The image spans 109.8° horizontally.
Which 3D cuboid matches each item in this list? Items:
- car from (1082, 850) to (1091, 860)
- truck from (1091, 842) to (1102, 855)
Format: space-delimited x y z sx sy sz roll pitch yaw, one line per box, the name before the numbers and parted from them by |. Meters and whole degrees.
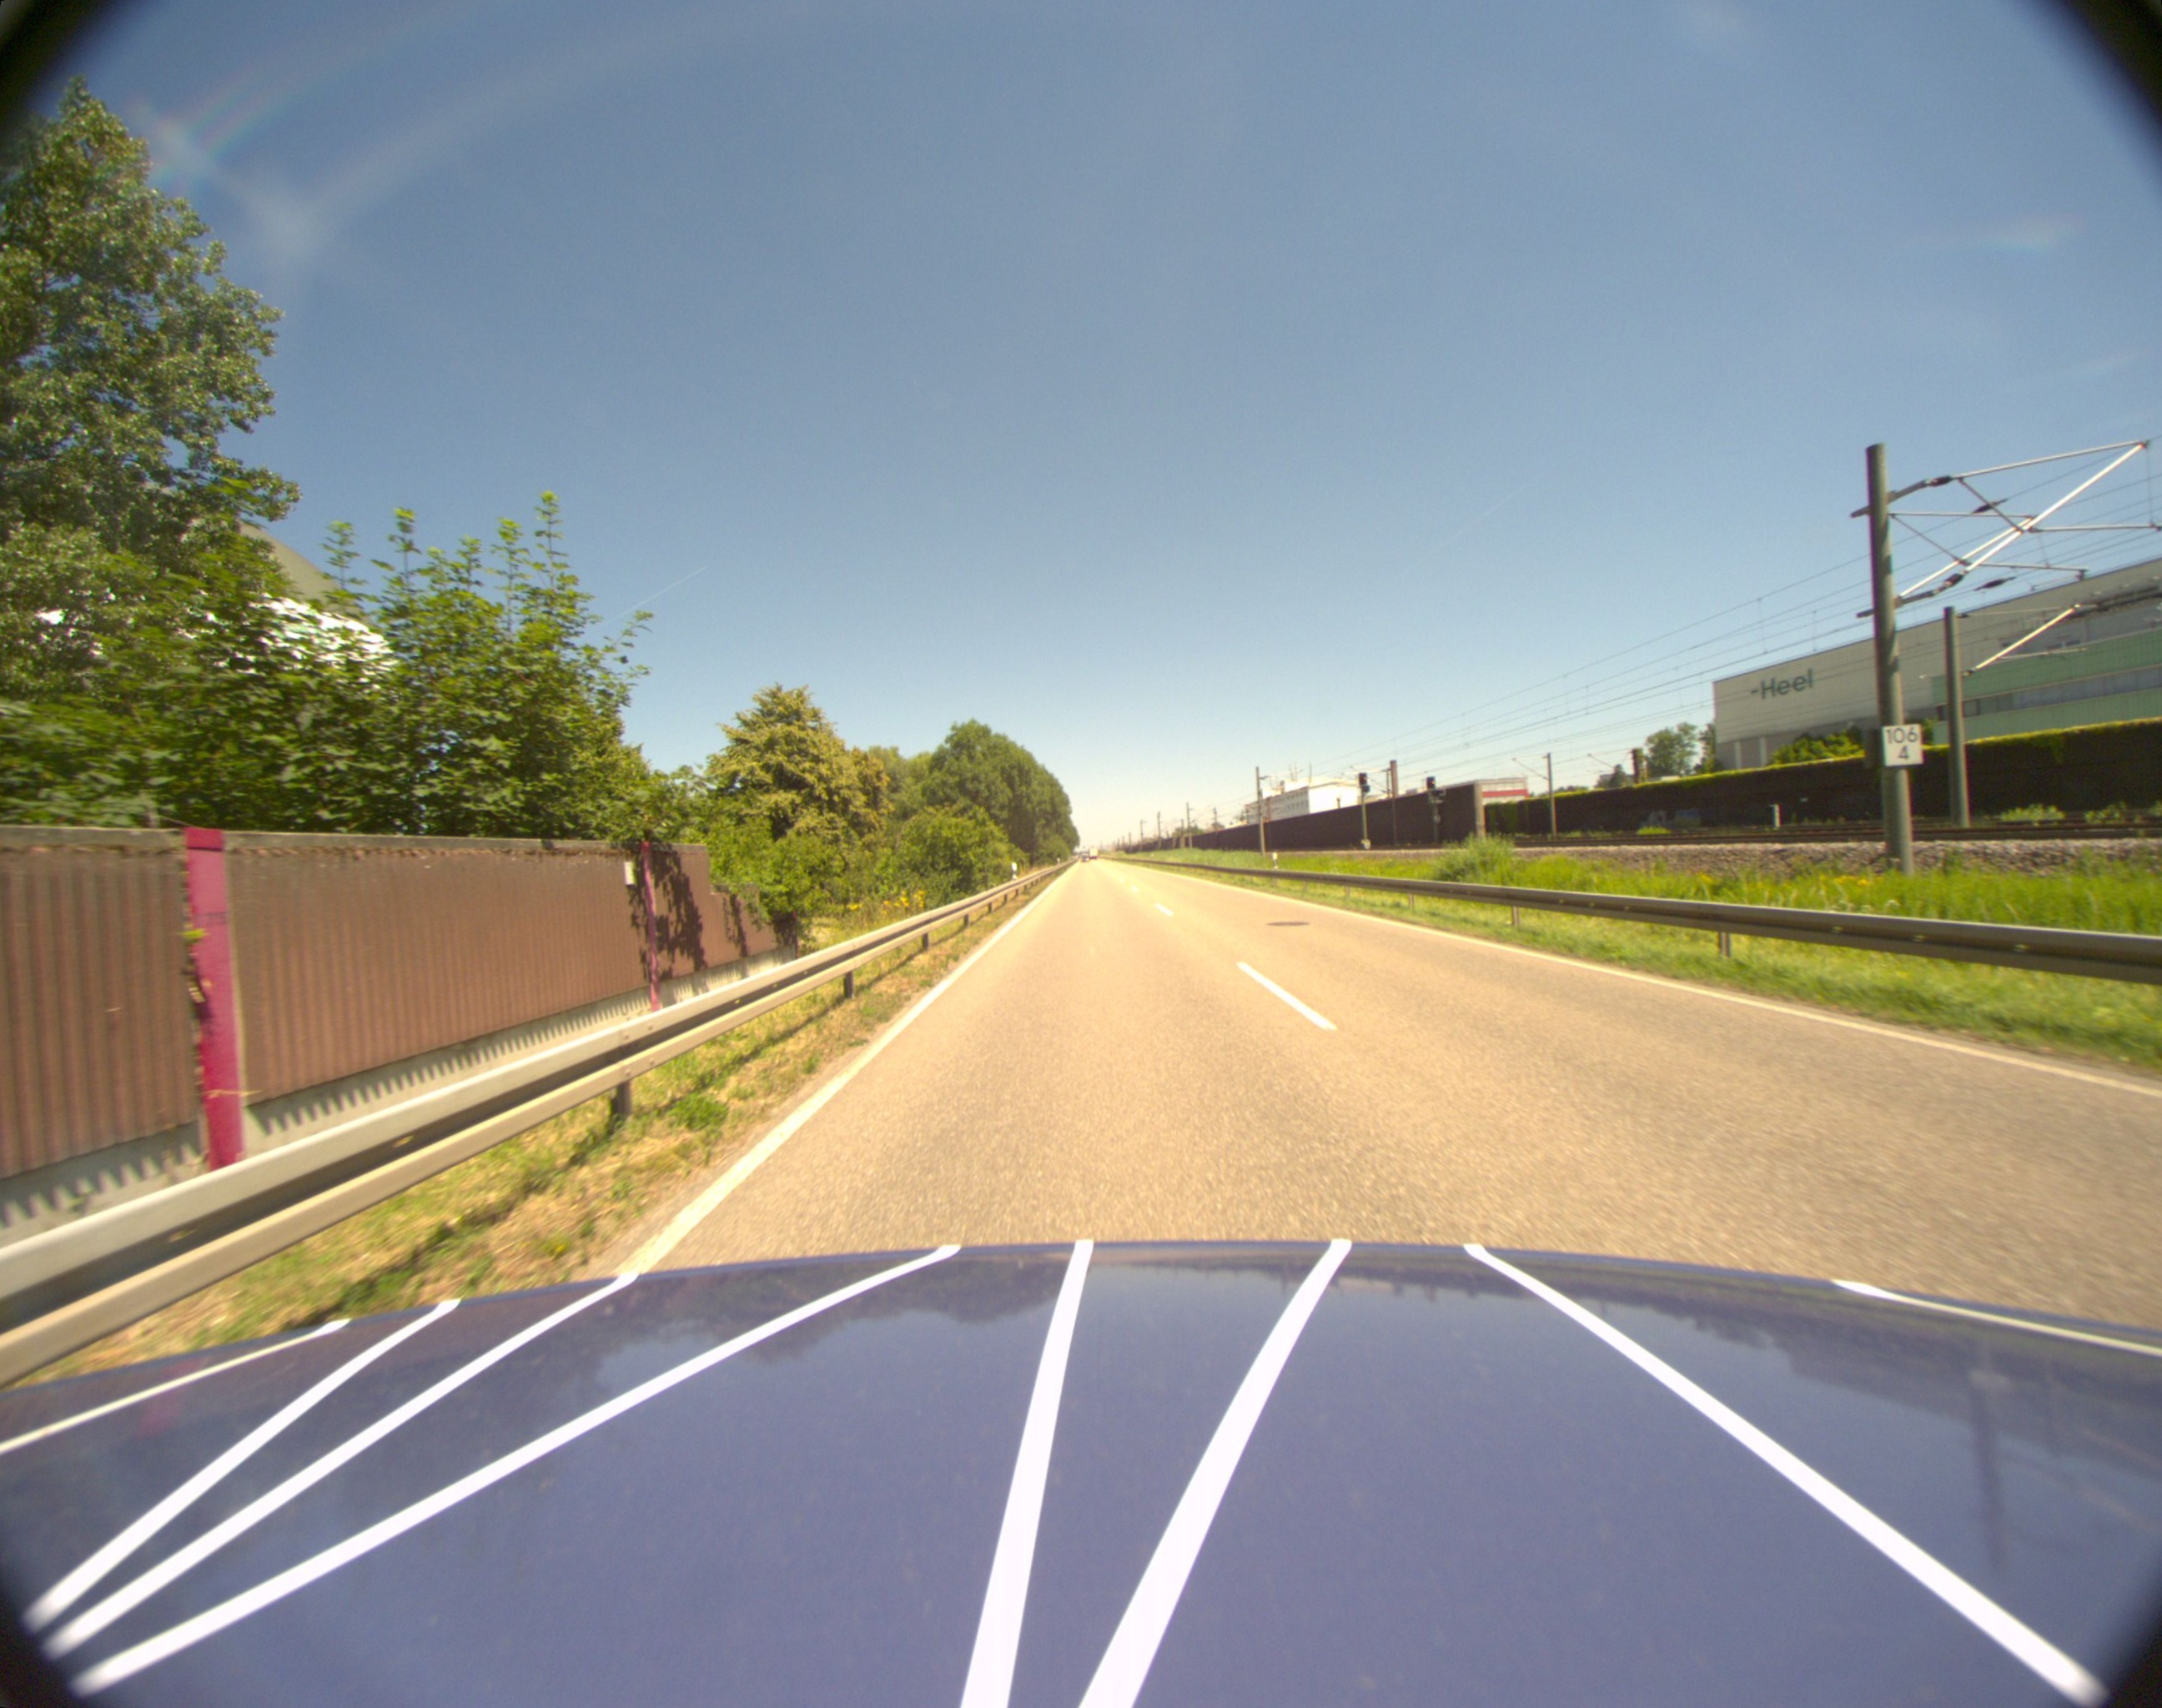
car | 1.251 0.223 175.026 1.999 2.002 3.999 -3 0 -1
truck | 5.378 -1.865 260.589 2.805 3.955 10.496 -5 0 -3
